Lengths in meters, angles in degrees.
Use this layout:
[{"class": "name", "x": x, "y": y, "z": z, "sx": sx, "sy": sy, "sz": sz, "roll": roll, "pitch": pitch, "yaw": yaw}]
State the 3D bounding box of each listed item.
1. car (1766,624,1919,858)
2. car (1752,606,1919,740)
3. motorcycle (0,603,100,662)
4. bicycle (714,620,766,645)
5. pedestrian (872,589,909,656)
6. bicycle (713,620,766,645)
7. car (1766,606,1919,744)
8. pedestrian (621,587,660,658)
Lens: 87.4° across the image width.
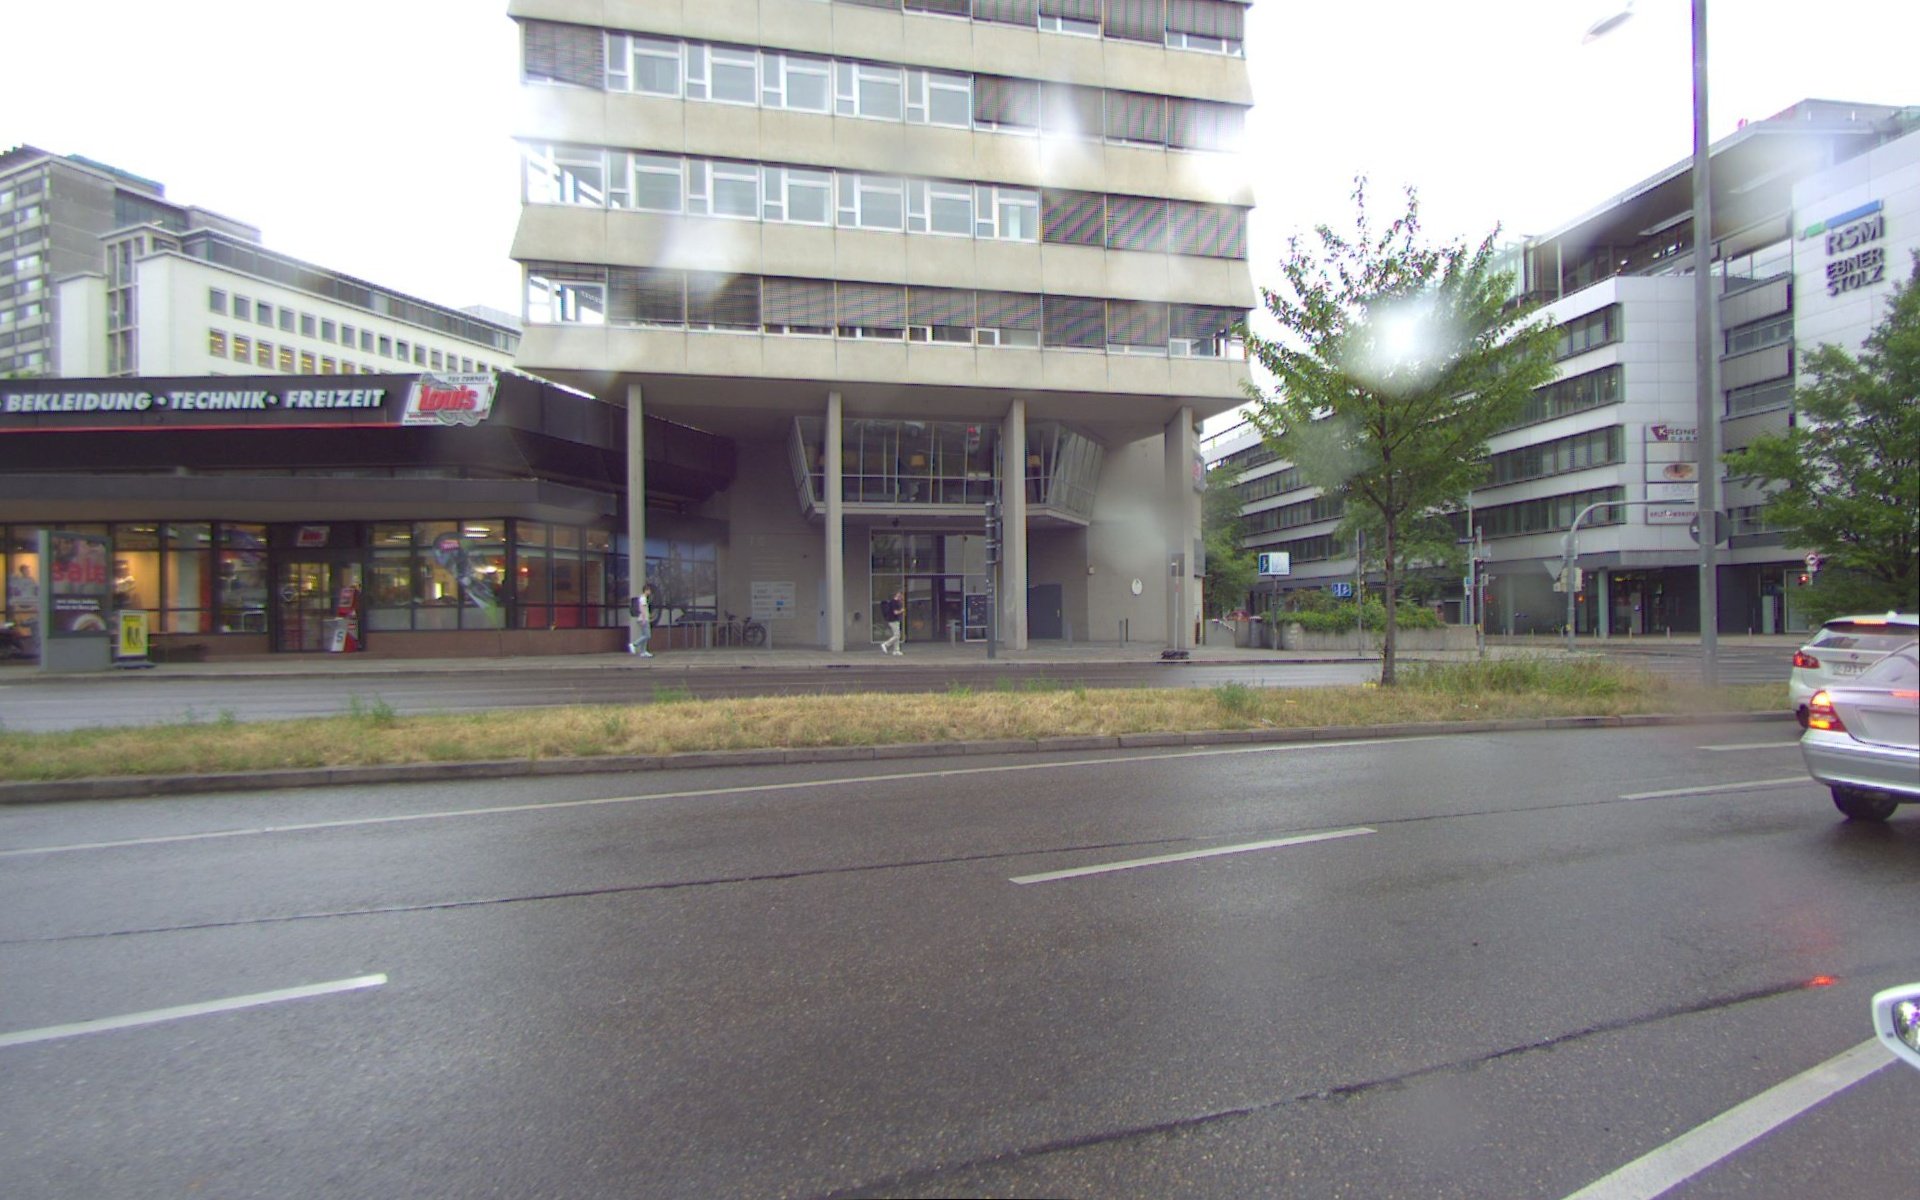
[{"class": "car", "x": 8.130, "y": 0.947, "z": 7.394, "sx": 4.136, "sy": 1.505, "sz": 1.678, "roll": 1, "pitch": -1, "yaw": -23}, {"class": "car", "x": 13.005, "y": 0.899, "z": 13.260, "sx": 4.214, "sy": 1.594, "sz": 1.785, "roll": 1, "pitch": -1, "yaw": -13}, {"class": "motorcycle", "x": -23.087, "y": 0.772, "z": 24.989, "sx": 0.788, "sy": 1.392, "sz": 2.894, "roll": 1, "pitch": 0, "yaw": 3}, {"class": "bicycle", "x": -7.601, "y": 1.113, "z": 34.705, "sx": 1.742, "sy": 0.823, "sz": 0.454, "roll": 1, "pitch": 0, "yaw": -12}, {"class": "pedestrian", "x": -1.963, "y": 0.642, "z": 28.439, "sx": 0.909, "sy": 1.857, "sz": 0.727, "roll": 1, "pitch": -1, "yaw": -14}, {"class": "bicycle", "x": -7.490, "y": 1.112, "z": 34.125, "sx": 1.742, "sy": 0.823, "sz": 0.454, "roll": 1, "pitch": 0, "yaw": -12}, {"class": "car", "x": 12.933, "y": 0.917, "z": 13.135, "sx": 3.936, "sy": 1.617, "sz": 1.883, "roll": 1, "pitch": 0, "yaw": -18}, {"class": "pedestrian", "x": -8.482, "y": 0.588, "z": 26.668, "sx": 0.909, "sy": 1.857, "sz": 0.817, "roll": 0, "pitch": 0, "yaw": -13}]
